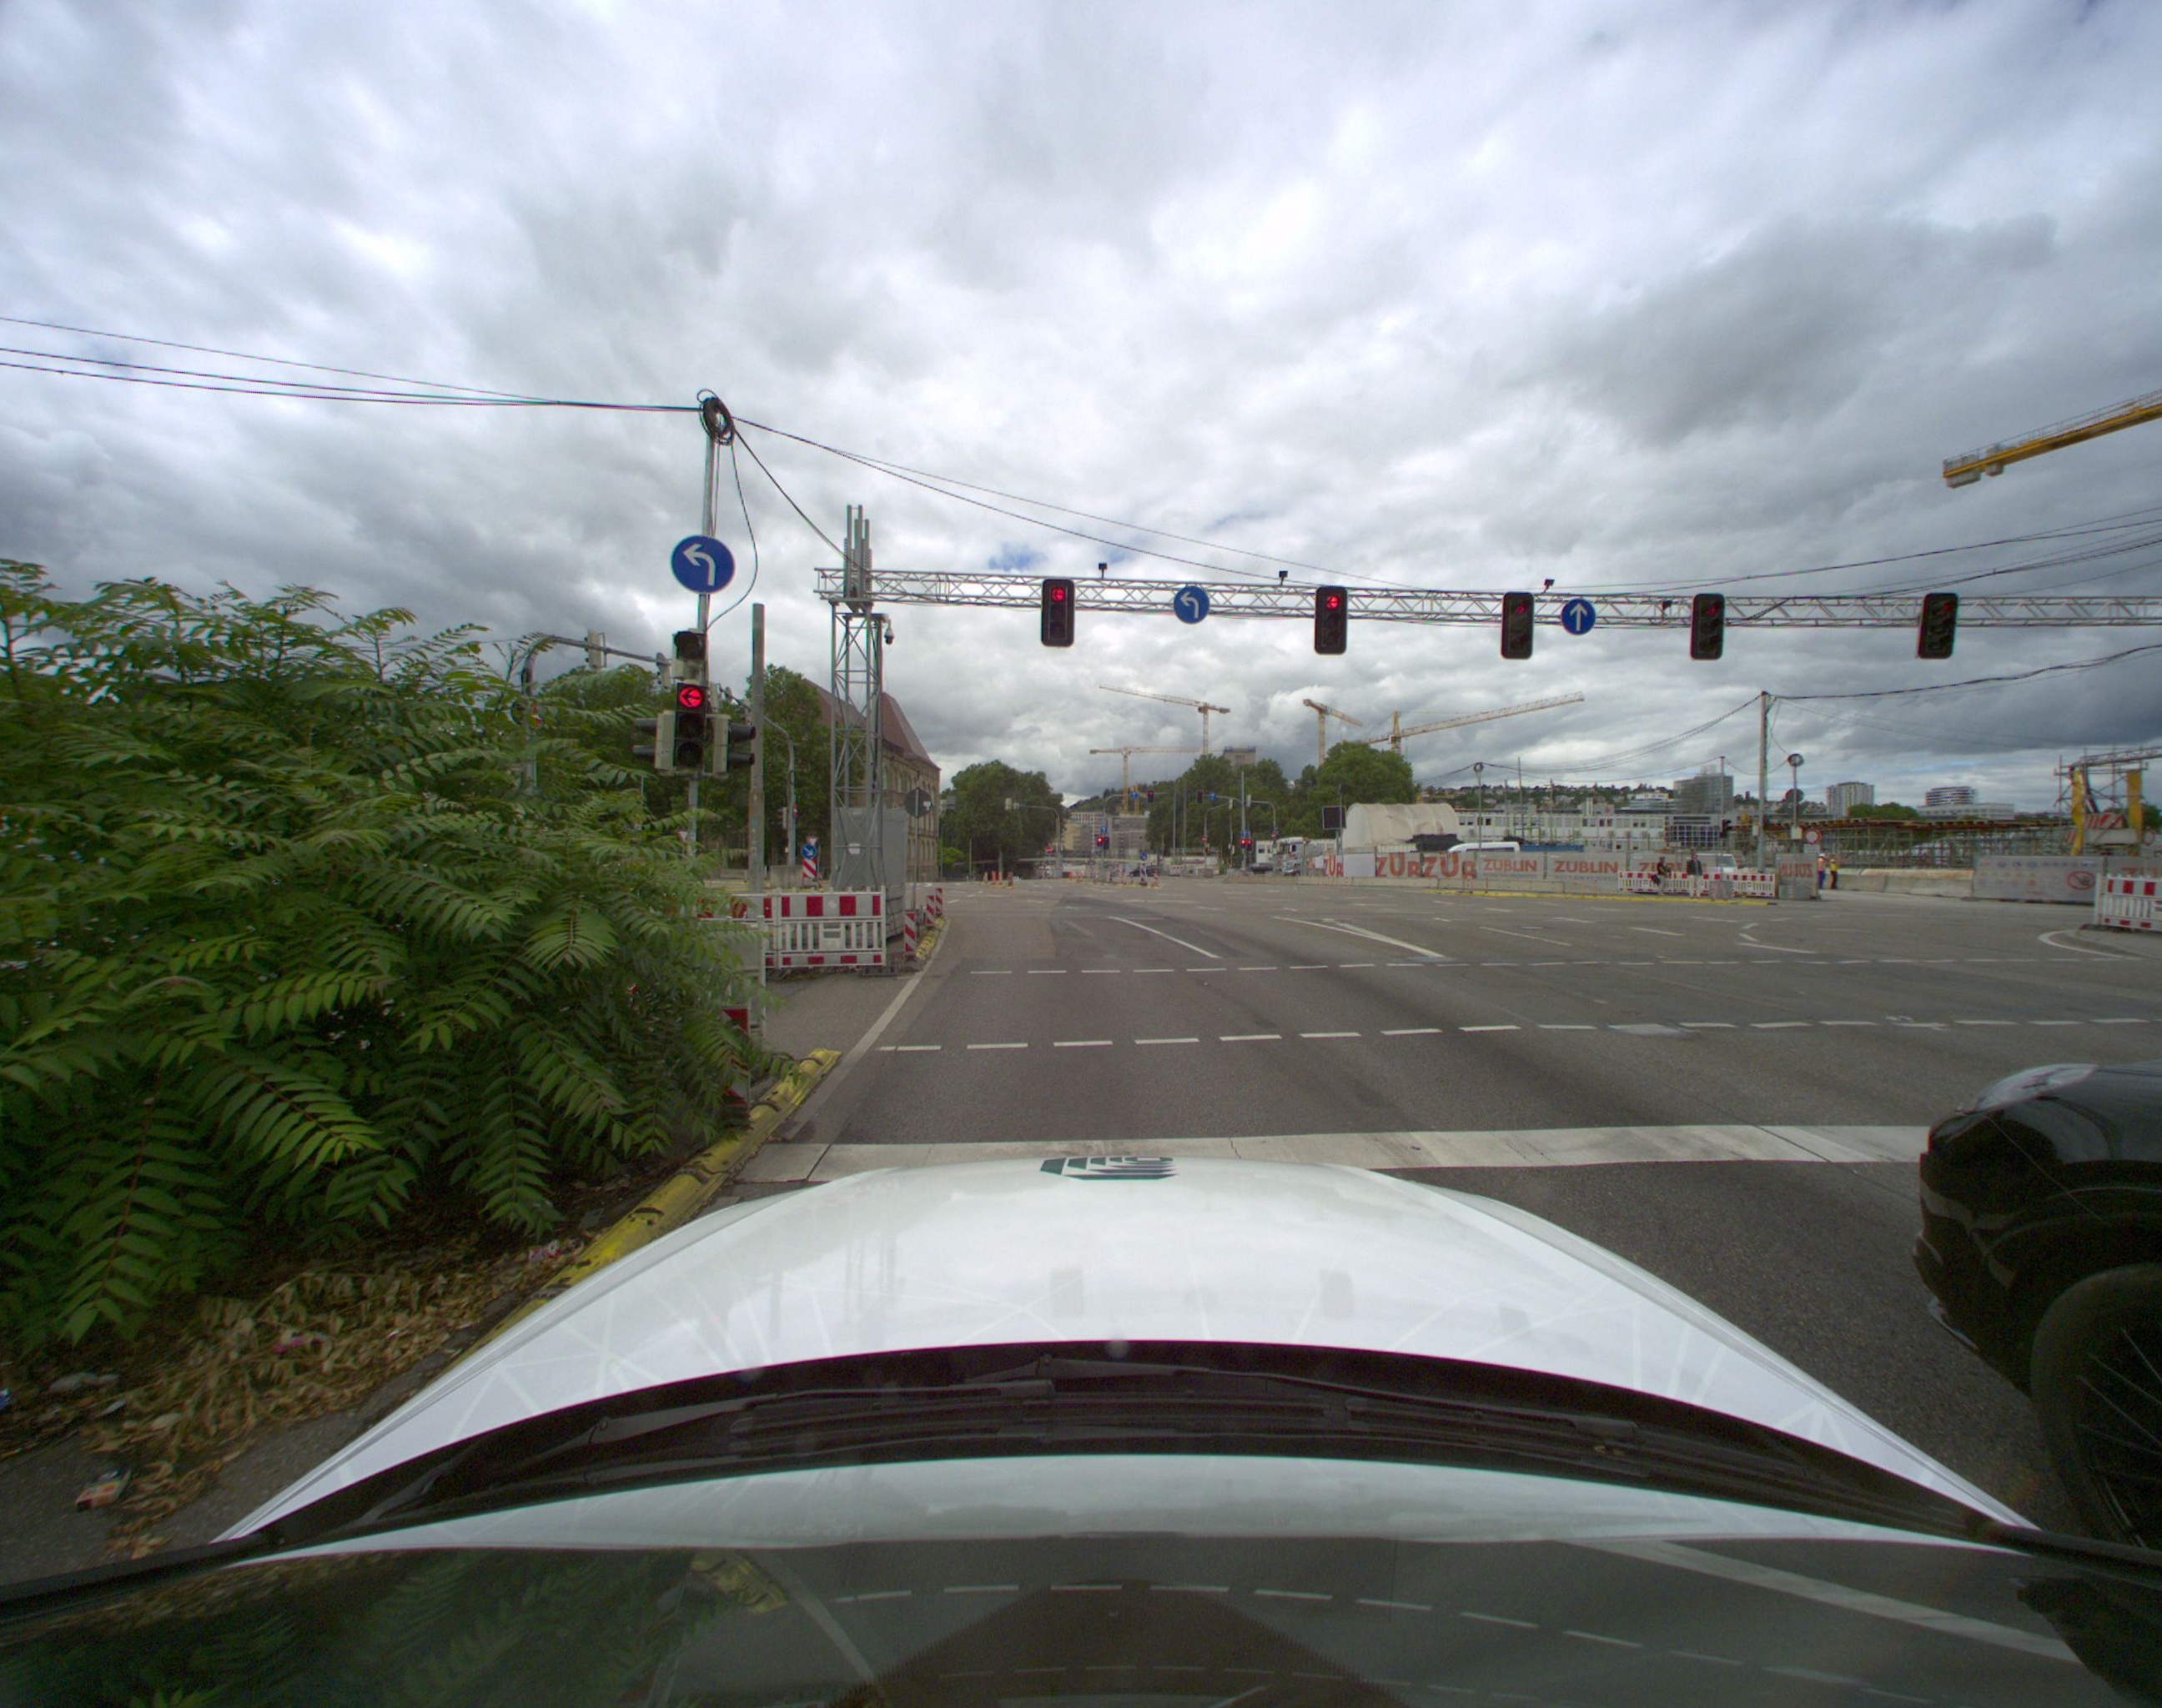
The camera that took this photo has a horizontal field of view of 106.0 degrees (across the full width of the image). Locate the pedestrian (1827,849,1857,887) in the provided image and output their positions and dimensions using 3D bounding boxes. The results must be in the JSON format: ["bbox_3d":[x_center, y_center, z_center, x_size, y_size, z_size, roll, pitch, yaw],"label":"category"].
[{"bbox_3d":[39.040,0.727,41.782,0.677,1.916,0.865,0,-1,-4],"label":"pedestrian"}]

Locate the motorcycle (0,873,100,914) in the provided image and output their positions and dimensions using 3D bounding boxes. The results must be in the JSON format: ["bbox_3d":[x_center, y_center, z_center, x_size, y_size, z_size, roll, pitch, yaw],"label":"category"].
[{"bbox_3d":[-25.527,0.956,19.825,2.342,0.941,0.697,0,-1,-2],"label":"motorcycle"}]

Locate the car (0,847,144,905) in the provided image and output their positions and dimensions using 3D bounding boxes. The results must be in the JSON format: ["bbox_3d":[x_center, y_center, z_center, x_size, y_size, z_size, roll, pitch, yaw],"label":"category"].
[{"bbox_3d":[-29.273,0.604,22.595,4.095,1.547,1.999,0,-1,-2],"label":"car"}]

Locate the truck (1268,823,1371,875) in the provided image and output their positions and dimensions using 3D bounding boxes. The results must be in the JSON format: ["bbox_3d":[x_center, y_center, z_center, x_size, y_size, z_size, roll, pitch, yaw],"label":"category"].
[{"bbox_3d":[23.599,-0.528,80.616,9.735,4.961,3.097,0,-1,-16],"label":"truck"}]

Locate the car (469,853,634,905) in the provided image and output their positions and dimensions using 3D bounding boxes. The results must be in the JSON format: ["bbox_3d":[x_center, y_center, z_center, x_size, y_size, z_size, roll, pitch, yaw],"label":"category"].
[{"bbox_3d":[-18.769,0.851,29.116,4.498,1.759,1.990,0,-1,-16],"label":"car"}]

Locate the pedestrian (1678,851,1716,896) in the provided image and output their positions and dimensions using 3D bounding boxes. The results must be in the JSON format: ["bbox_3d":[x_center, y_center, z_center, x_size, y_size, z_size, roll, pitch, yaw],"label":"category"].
[{"bbox_3d":[25.740,0.796,34.029,1.035,1.848,0.794,-1,-1,17],"label":"pedestrian"}]

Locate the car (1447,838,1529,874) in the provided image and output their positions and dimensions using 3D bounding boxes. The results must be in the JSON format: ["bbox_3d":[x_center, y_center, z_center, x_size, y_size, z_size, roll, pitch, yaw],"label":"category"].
[{"bbox_3d":[23.460,0.119,47.100,3.955,2.014,2.009,-1,-1,17],"label":"car"}]

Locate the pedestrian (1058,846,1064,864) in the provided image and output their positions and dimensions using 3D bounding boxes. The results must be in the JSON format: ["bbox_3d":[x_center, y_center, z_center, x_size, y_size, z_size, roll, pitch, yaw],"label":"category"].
[{"bbox_3d":[-1.941,0.089,80.899,0.583,1.840,0.604,0,-1,-2],"label":"pedestrian"}]

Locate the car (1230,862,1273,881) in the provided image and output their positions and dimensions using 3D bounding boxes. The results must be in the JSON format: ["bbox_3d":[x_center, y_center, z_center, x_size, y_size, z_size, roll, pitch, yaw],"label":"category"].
[{"bbox_3d":[18.625,1.899,89.092,4.224,2.014,2.011,-1,-1,25],"label":"car"}]

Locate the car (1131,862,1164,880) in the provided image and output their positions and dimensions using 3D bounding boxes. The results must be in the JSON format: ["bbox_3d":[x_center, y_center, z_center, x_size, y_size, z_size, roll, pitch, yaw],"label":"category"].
[{"bbox_3d":[7.998,2.040,97.902,2.007,2.014,3.960,0,-1,-32],"label":"car"}]

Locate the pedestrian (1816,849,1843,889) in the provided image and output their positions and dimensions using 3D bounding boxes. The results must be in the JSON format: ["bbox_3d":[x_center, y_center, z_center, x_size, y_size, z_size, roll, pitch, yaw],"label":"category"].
[{"bbox_3d":[38.281,0.743,41.658,0.673,2.014,0.869,-1,-1,14],"label":"pedestrian"}]

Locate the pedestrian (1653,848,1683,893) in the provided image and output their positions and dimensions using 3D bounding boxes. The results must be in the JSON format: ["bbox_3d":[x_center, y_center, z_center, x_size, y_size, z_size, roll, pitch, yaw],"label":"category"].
[{"bbox_3d":[26.249,0.730,36.429,1.021,2.014,1.053,-1,-1,37],"label":"pedestrian"}]

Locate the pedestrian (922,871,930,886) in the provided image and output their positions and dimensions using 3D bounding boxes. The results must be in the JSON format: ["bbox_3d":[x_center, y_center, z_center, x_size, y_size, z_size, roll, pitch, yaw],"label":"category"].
[{"bbox_3d":[-21.397,3.383,112.368,0.946,2.014,0.767,0,-1,3],"label":"pedestrian"}]

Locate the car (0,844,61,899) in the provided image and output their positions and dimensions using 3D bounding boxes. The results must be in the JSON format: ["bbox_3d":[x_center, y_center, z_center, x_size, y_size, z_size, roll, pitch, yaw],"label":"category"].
[{"bbox_3d":[-32.754,0.514,23.468,4.094,1.547,1.999,0,-1,-1],"label":"car"}]

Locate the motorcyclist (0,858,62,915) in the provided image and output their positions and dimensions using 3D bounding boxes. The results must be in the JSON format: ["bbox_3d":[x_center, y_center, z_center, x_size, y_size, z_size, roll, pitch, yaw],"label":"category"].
[{"bbox_3d":[-25.650,0.780,19.823,0.786,1.380,0.697,0,-1,-2],"label":"motorcyclist"}]

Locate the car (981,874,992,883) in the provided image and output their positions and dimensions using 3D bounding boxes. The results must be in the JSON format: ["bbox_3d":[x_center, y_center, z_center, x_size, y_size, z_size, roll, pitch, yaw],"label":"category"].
[{"bbox_3d":[-19.918,5.131,172.084,1.987,1.838,3.998,0,-1,-1],"label":"car"}]
